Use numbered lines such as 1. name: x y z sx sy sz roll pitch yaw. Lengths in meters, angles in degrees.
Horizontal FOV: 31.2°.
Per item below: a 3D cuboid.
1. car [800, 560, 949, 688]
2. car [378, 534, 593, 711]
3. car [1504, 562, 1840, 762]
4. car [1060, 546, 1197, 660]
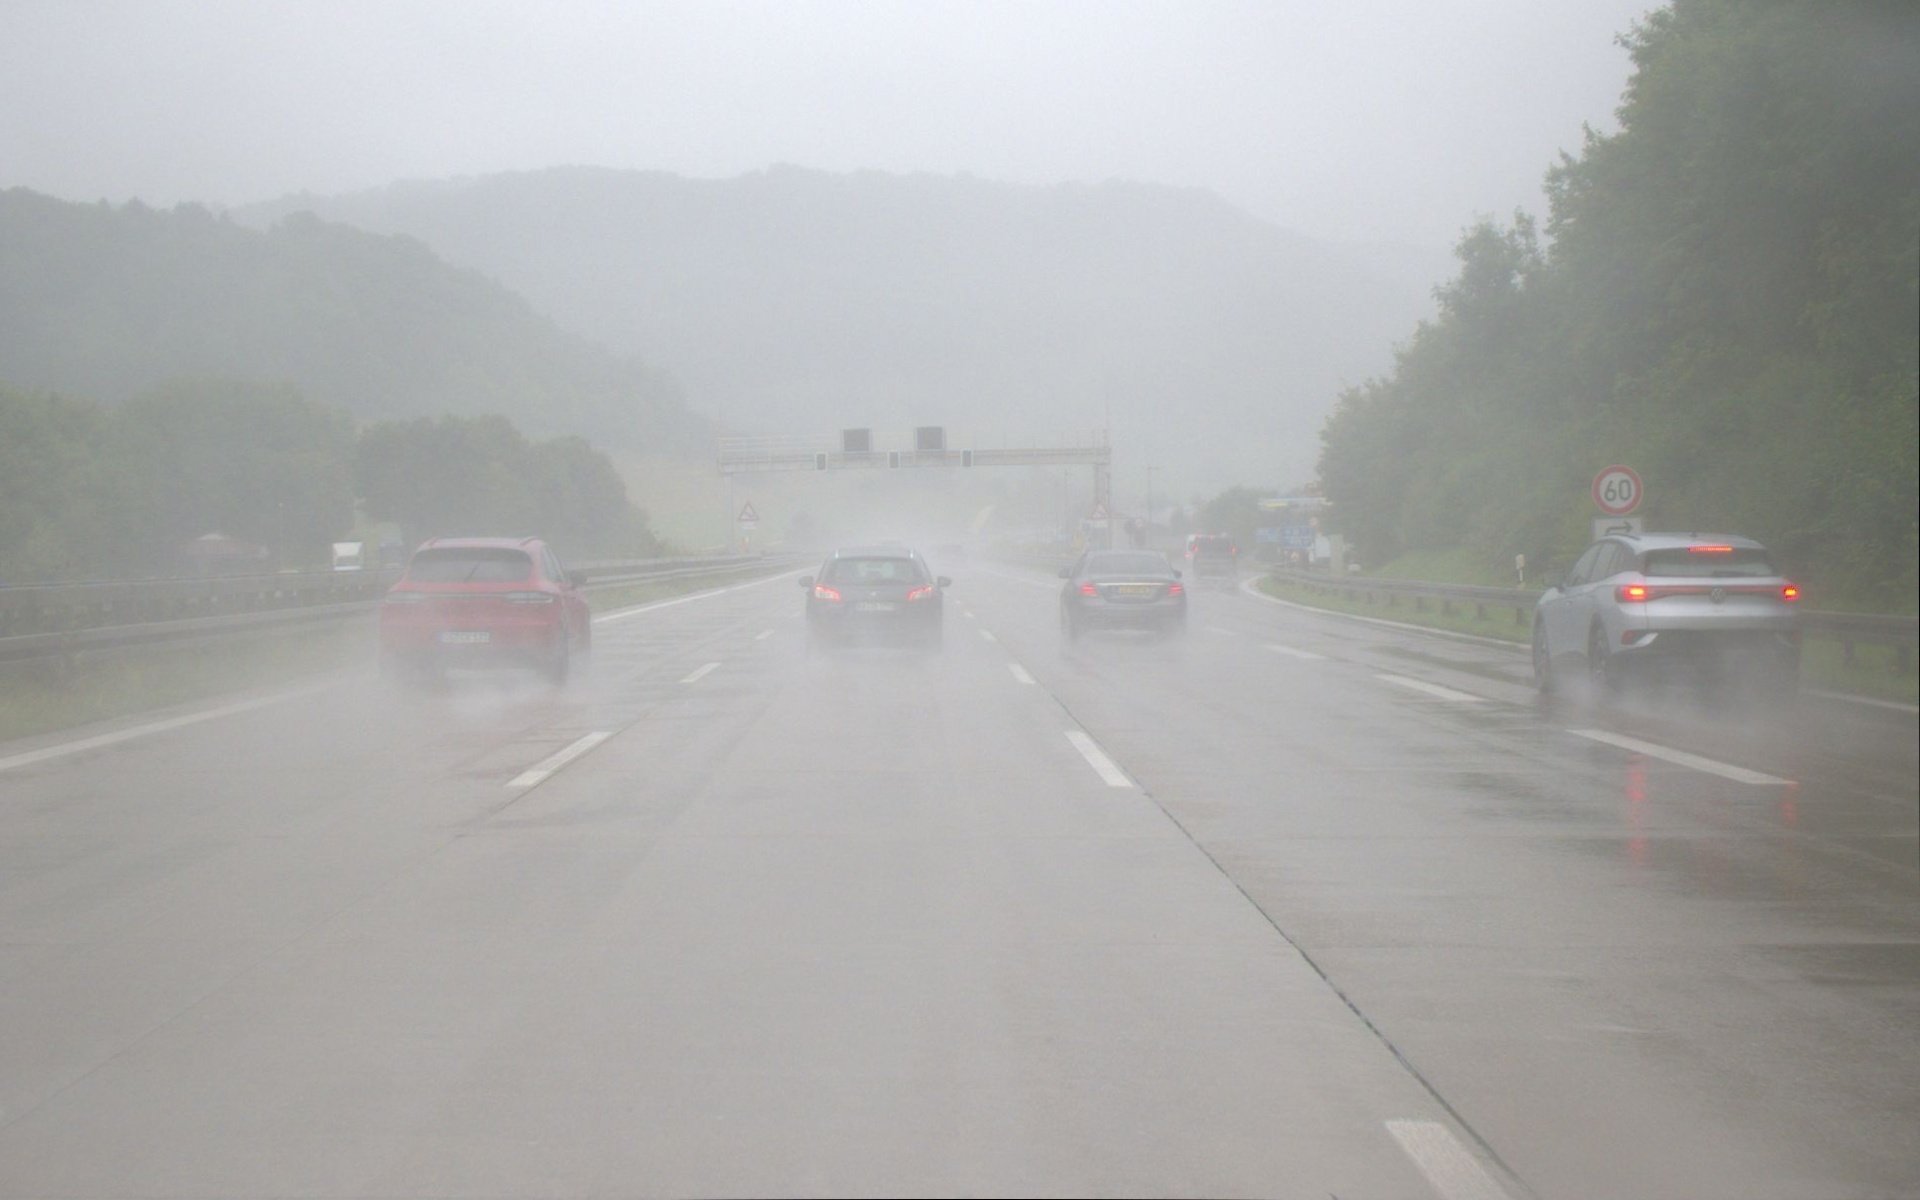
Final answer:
1. car: -1.108 0.279 45.425 1.859 1.584 4.000 1 1 -1
2. car: -5.095 0.194 37.376 1.884 1.809 4.000 0 1 -2
3. car: 6.761 0.517 33.302 1.993 1.744 5.663 1 1 -1
4. car: 2.690 0.022 55.606 1.971 1.754 4.000 0 1 -1
